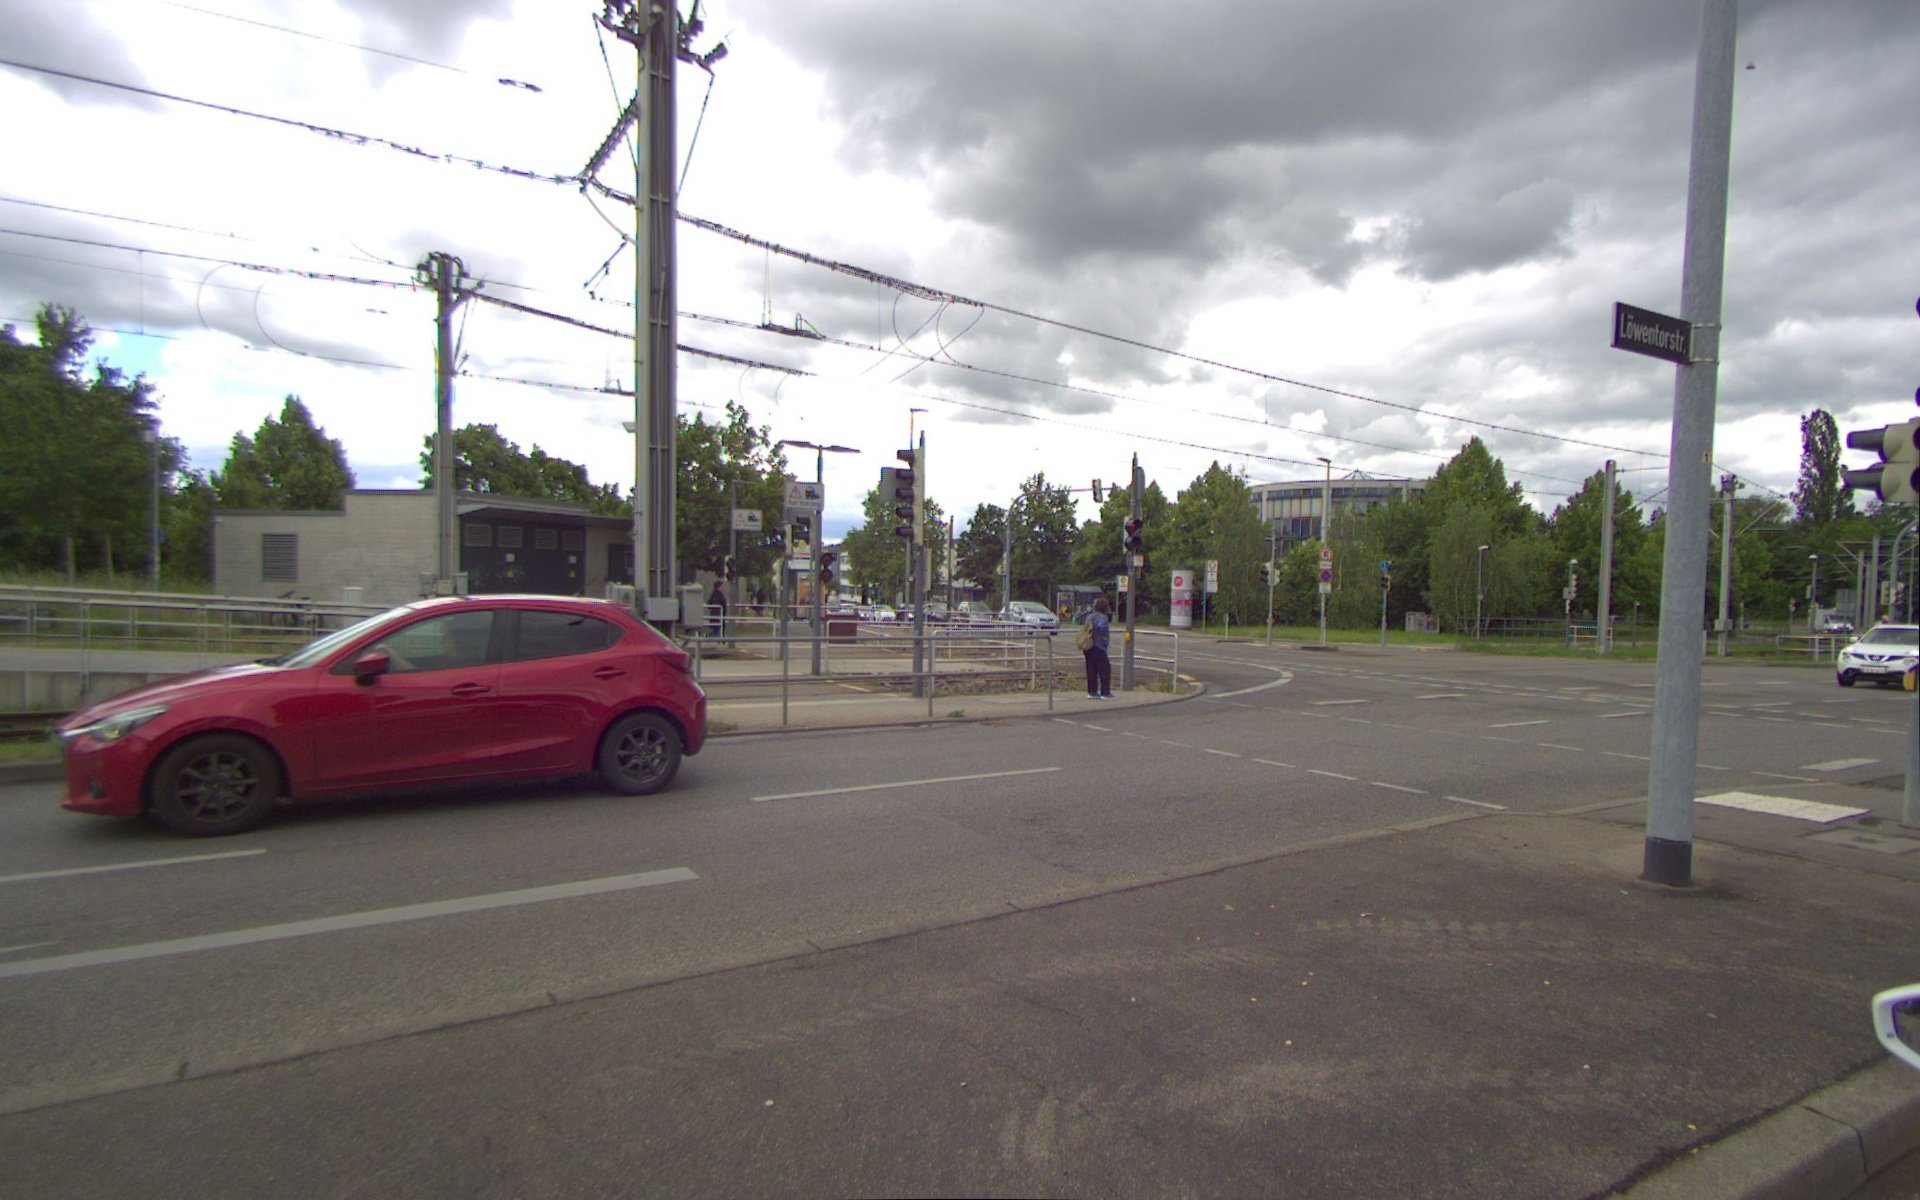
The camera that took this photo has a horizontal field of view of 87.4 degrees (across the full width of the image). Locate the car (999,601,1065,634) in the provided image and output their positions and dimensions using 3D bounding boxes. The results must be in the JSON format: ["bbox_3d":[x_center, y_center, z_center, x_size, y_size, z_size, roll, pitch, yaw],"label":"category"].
[{"bbox_3d":[3.303,0.801,46.815,1.706,1.456,3.731,1,0,-20],"label":"car"}]

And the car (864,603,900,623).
[{"bbox_3d":[-5.810,0.964,74.788,1.706,1.456,3.731,1,0,-20],"label":"car"}]

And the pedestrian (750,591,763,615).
[{"bbox_3d":[-14.414,0.210,71.271,0.771,1.649,0.660,1,0,-22],"label":"pedestrian"}]

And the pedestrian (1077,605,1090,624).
[{"bbox_3d":[8.831,1.044,71.622,0.652,1.322,0.780,1,0,-16],"label":"pedestrian"}]

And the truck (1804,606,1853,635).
[{"bbox_3d":[99.612,2.302,115.336,2.080,3.176,5.901,2,0,18],"label":"truck"}]

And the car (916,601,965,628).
[{"bbox_3d":[-1.148,0.817,58.171,1.706,1.456,3.731,1,0,-20],"label":"car"}]

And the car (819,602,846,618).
[{"bbox_3d":[-11.921,0.963,94.063,1.706,1.456,3.731,1,0,-20],"label":"car"}]

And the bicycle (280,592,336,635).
[{"bbox_3d":[-17.327,0.347,26.684,1.452,1.101,0.492,1,0,22],"label":"bicycle"}]

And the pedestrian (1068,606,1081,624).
[{"bbox_3d":[8.304,1.081,72.902,0.652,1.321,0.780,1,0,-16],"label":"pedestrian"}]

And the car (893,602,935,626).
[{"bbox_3d":[-3.002,0.889,64.937,1.706,1.456,3.731,1,0,-20],"label":"car"}]

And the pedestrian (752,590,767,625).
[{"bbox_3d":[-11.514,0.415,57.642,0.738,1.993,0.795,1,0,-9],"label":"pedestrian"}]

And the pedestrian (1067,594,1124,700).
[{"bbox_3d":[2.081,0.702,15.445,0.701,1.584,0.533,1,1,-44],"label":"pedestrian"}]

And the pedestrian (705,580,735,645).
[{"bbox_3d":[-6.107,0.309,25.545,0.648,1.628,0.703,1,0,-20],"label":"pedestrian"}]

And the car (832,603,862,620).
[{"bbox_3d":[-9.765,0.988,86.722,1.706,1.456,3.731,1,0,-20],"label":"car"}]

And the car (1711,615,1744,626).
[{"bbox_3d":[114.854,3.048,150.417,1.749,1.567,4.023,1,0,-3],"label":"car"}]

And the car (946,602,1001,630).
[{"bbox_3d":[0.691,0.845,53.675,1.706,1.456,3.731,1,0,-20],"label":"car"}]

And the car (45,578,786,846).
[{"bbox_3d":[-3.678,0.654,7.468,4.381,1.462,1.769,1,-1,-35],"label":"car"}]

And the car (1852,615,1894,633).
[{"bbox_3d":[114.586,3.004,126.111,1.959,2.040,4.002,2,0,9],"label":"car"}]

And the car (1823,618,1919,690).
[{"bbox_3d":[23.729,1.314,25.342,4.378,1.650,1.818,1,-1,-33],"label":"car"}]
